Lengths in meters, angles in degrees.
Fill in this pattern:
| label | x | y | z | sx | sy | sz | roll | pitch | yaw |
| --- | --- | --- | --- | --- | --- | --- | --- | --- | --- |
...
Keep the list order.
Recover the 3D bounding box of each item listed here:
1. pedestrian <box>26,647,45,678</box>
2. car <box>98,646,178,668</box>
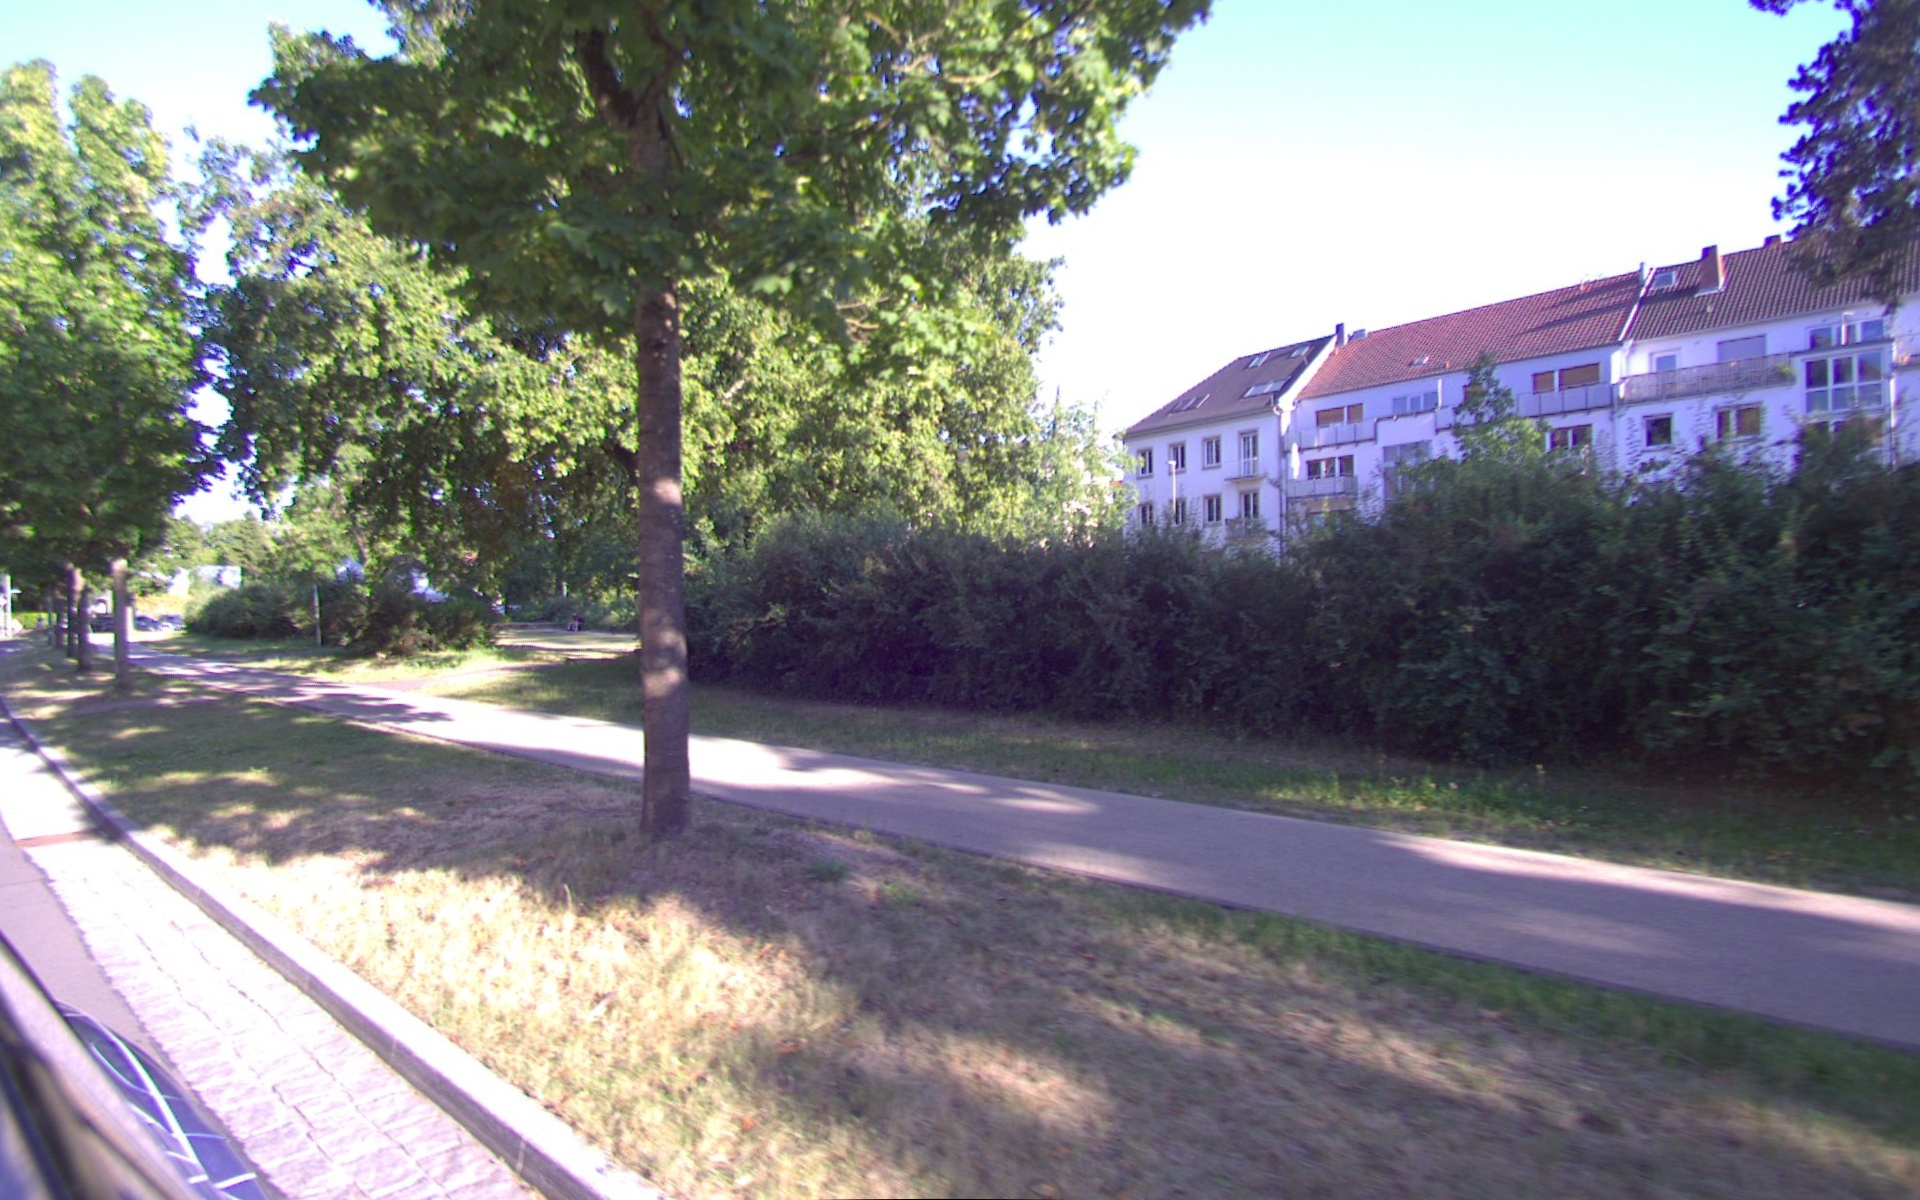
| label | x | y | z | sx | sy | sz | roll | pitch | yaw |
| --- | --- | --- | --- | --- | --- | --- | --- | --- | --- |
| pedestrian | -52.371 | 3.533 | 57.323 | 0.999 | 1.732 | 0.528 | -5 | -3 | 31 |
| car | -67.332 | 4.645 | 82.983 | 1.861 | 1.570 | 4.786 | -3 | -2 | 31 |
